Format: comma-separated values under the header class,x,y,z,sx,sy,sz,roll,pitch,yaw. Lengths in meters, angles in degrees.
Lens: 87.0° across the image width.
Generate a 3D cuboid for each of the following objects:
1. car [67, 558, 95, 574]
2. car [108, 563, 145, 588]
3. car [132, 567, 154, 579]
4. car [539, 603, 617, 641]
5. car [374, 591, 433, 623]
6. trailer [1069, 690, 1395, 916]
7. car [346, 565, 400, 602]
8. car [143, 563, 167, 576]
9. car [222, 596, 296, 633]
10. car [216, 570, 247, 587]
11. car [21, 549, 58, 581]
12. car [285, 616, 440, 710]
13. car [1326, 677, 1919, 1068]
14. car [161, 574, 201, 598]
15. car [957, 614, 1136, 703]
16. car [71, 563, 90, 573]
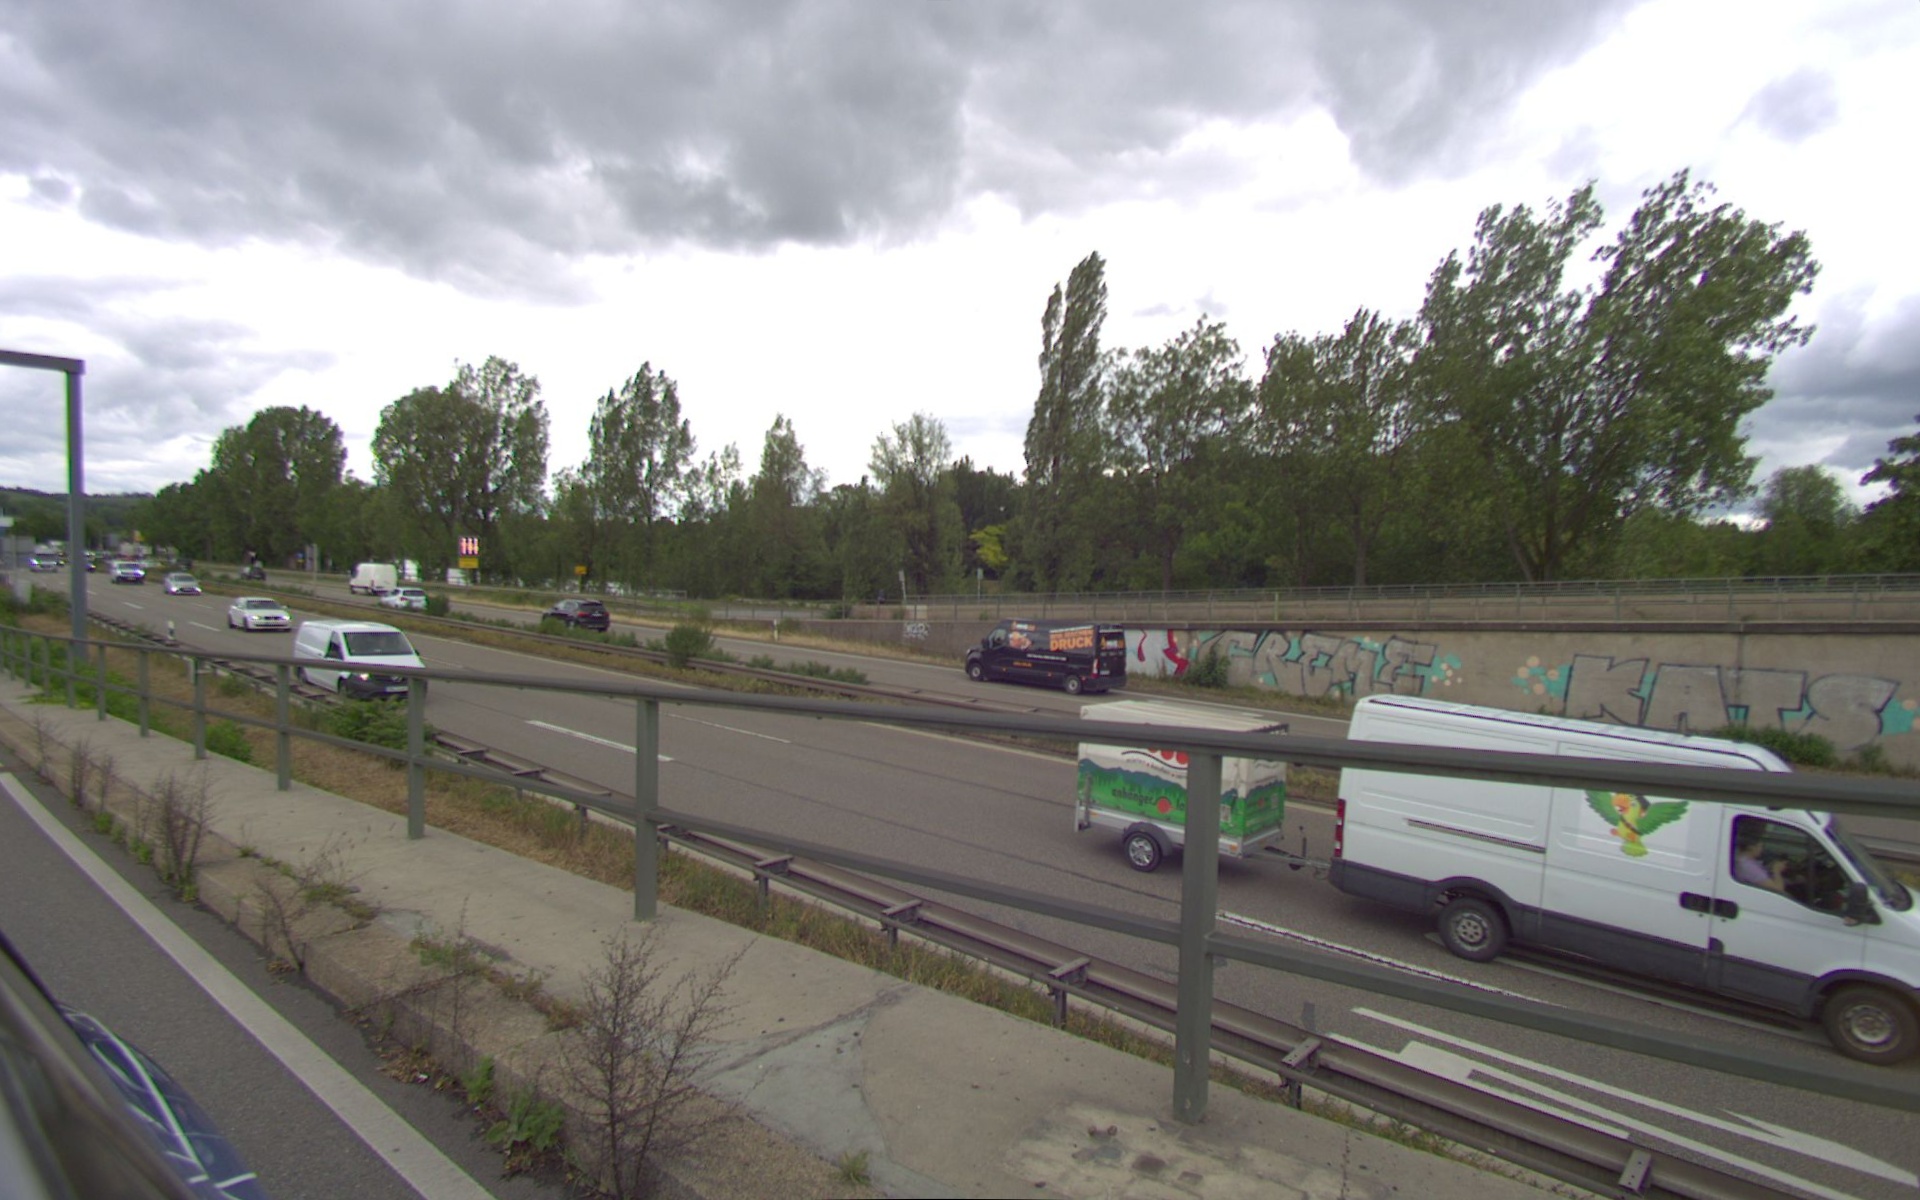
class,x,y,z,sx,sy,sz,roll,pitch,yaw
car,-102.923,-3.961,118.504,4.277,1.726,1.822,4,3,40
car,-71.743,-2.128,87.094,4.898,1.949,1.928,4,3,44
car,-119.163,-3.949,147.675,3.930,1.662,1.879,2,2,41
car,-19.655,1.108,51.991,4.332,1.662,1.879,4,1,41
car,-32.429,0.370,58.905,3.930,1.662,1.739,4,3,41
trailer,3.631,2.583,13.920,3.935,2.145,1.711,3,3,41
car,-48.185,-1.367,83.003,5.359,2.800,2.187,4,2,41
car,-107.745,-4.122,135.398,3.930,1.662,1.879,2,2,41
car,-31.368,0.620,45.244,4.164,1.462,1.724,3,2,41
car,-78.319,-2.309,108.737,3.930,1.662,1.879,-1,0,41
car,-103.866,-3.982,114.144,7.659,3.264,2.336,4,2,42
car,-15.795,1.553,26.629,5.197,1.890,1.973,4,3,41
car,7.215,2.507,10.678,5.931,2.704,1.973,3,3,41
car,-55.810,-1.029,72.513,3.681,1.564,1.540,3,3,41
car,2.956,1.955,35.753,6.111,2.566,2.221,3,2,40
car,-149.685,-5.409,172.242,3.930,1.662,1.879,2,2,41
